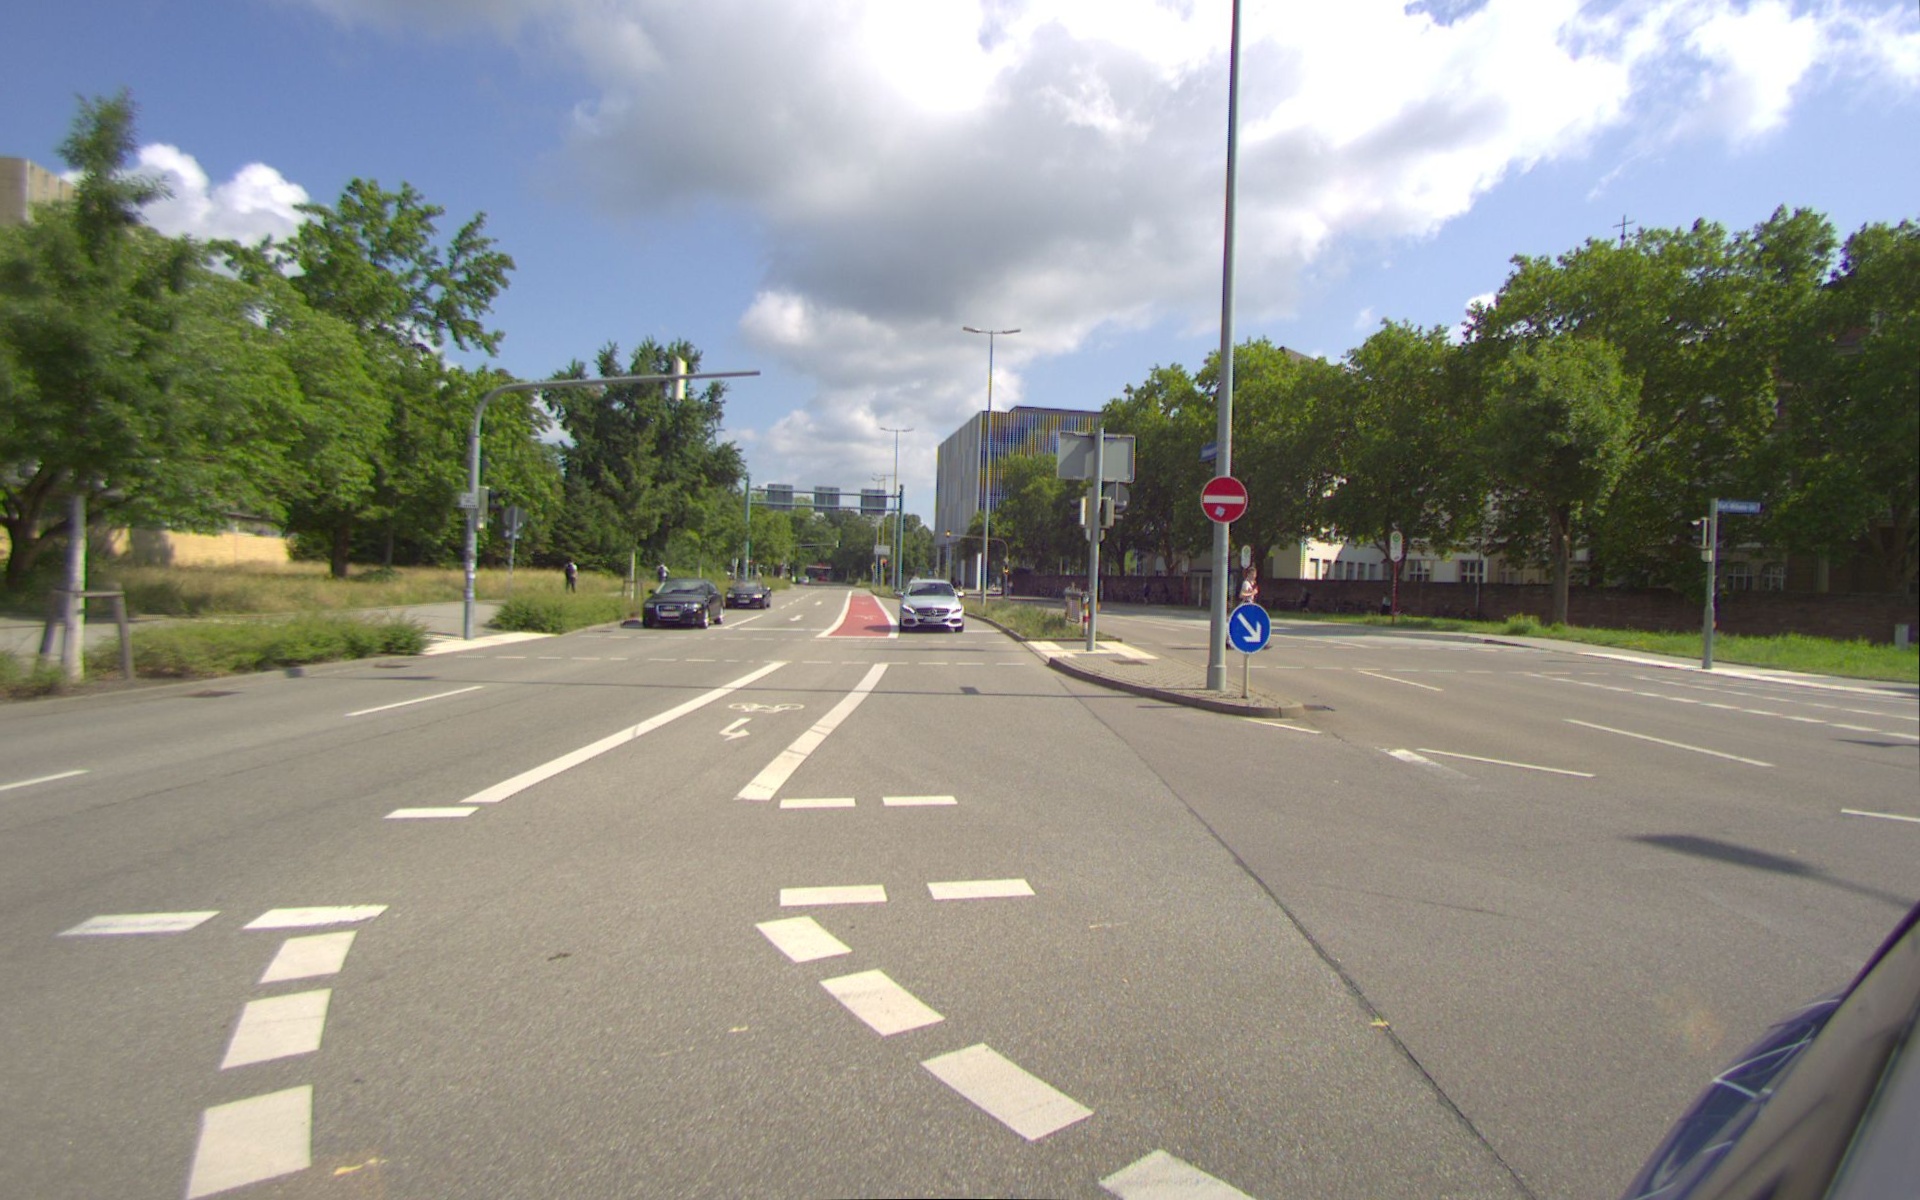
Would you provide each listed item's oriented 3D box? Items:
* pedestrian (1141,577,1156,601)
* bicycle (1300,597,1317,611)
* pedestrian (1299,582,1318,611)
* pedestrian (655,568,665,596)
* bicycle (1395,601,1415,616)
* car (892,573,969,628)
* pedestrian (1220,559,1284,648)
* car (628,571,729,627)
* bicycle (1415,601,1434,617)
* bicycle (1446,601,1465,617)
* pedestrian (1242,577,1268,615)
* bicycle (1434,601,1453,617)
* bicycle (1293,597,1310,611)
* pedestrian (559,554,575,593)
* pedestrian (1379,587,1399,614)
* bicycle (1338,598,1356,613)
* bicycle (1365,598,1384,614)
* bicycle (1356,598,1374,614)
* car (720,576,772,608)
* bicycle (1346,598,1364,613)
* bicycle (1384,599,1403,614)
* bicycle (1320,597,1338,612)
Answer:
[{"bbox_3d":[14.308,-0.807,76.827,0.868,1.802,0.772,0,2,-9],"label":"pedestrian"},{"bbox_3d":[22.063,0.272,63.985,0.954,0.859,0.483,2,1,-31],"label":"bicycle"},{"bbox_3d":[21.289,-0.228,61.852,0.650,1.744,0.744,2,1,-28],"label":"pedestrian"},{"bbox_3d":[-19.172,-1.138,64.630,0.531,1.791,0.525,2,-1,-13],"label":"pedestrian"},{"bbox_3d":[25.498,0.493,57.951,1.052,0.859,0.500,2,1,-31],"label":"bicycle"},{"bbox_3d":[-0.951,-0.049,29.491,2.021,1.460,4.786,0,2,-4],"label":"car"},{"bbox_3d":[6.432,0.088,22.315,1.157,1.881,0.699,2,-3,-6],"label":"pedestrian"},{"bbox_3d":[-7.962,-0.073,28.978,1.960,1.394,4.165,3,1,-4],"label":"car"},{"bbox_3d":[26.146,0.488,56.981,0.954,0.859,0.483,2,1,-31],"label":"bicycle"},{"bbox_3d":[27.108,0.499,55.345,0.954,0.859,0.483,2,1,-31],"label":"bicycle"},{"bbox_3d":[14.288,-0.212,48.956,0.734,1.802,0.968,1,1,-18],"label":"pedestrian"},{"bbox_3d":[26.699,0.514,55.896,0.954,0.859,0.483,2,1,-31],"label":"bicycle"},{"bbox_3d":[21.747,0.267,64.472,0.954,0.859,0.483,2,1,-31],"label":"bicycle"},{"bbox_3d":[-17.155,-1.154,44.192,0.531,1.628,0.525,2,-1,-13],"label":"pedestrian"},{"bbox_3d":[24.716,0.026,58.263,0.712,1.553,0.725,1,1,-34],"label":"pedestrian"},{"bbox_3d":[23.510,0.353,61.444,0.954,0.859,0.483,2,1,-31],"label":"bicycle"},{"bbox_3d":[24.505,0.364,59.839,0.954,0.859,0.483,2,1,-31],"label":"bicycle"},{"bbox_3d":[24.150,0.360,60.419,0.954,0.859,0.483,2,1,-31],"label":"bicycle"},{"bbox_3d":[-9.679,-0.406,45.989,1.762,1.288,4.005,2,2,-5],"label":"car"},{"bbox_3d":[23.806,0.357,60.974,0.954,0.859,0.483,2,1,-31],"label":"bicycle"},{"bbox_3d":[25.155,0.370,58.708,0.954,0.859,0.483,2,1,-31],"label":"bicycle"},{"bbox_3d":[22.825,0.279,62.620,0.954,0.859,0.483,2,1,-31],"label":"bicycle"}]
